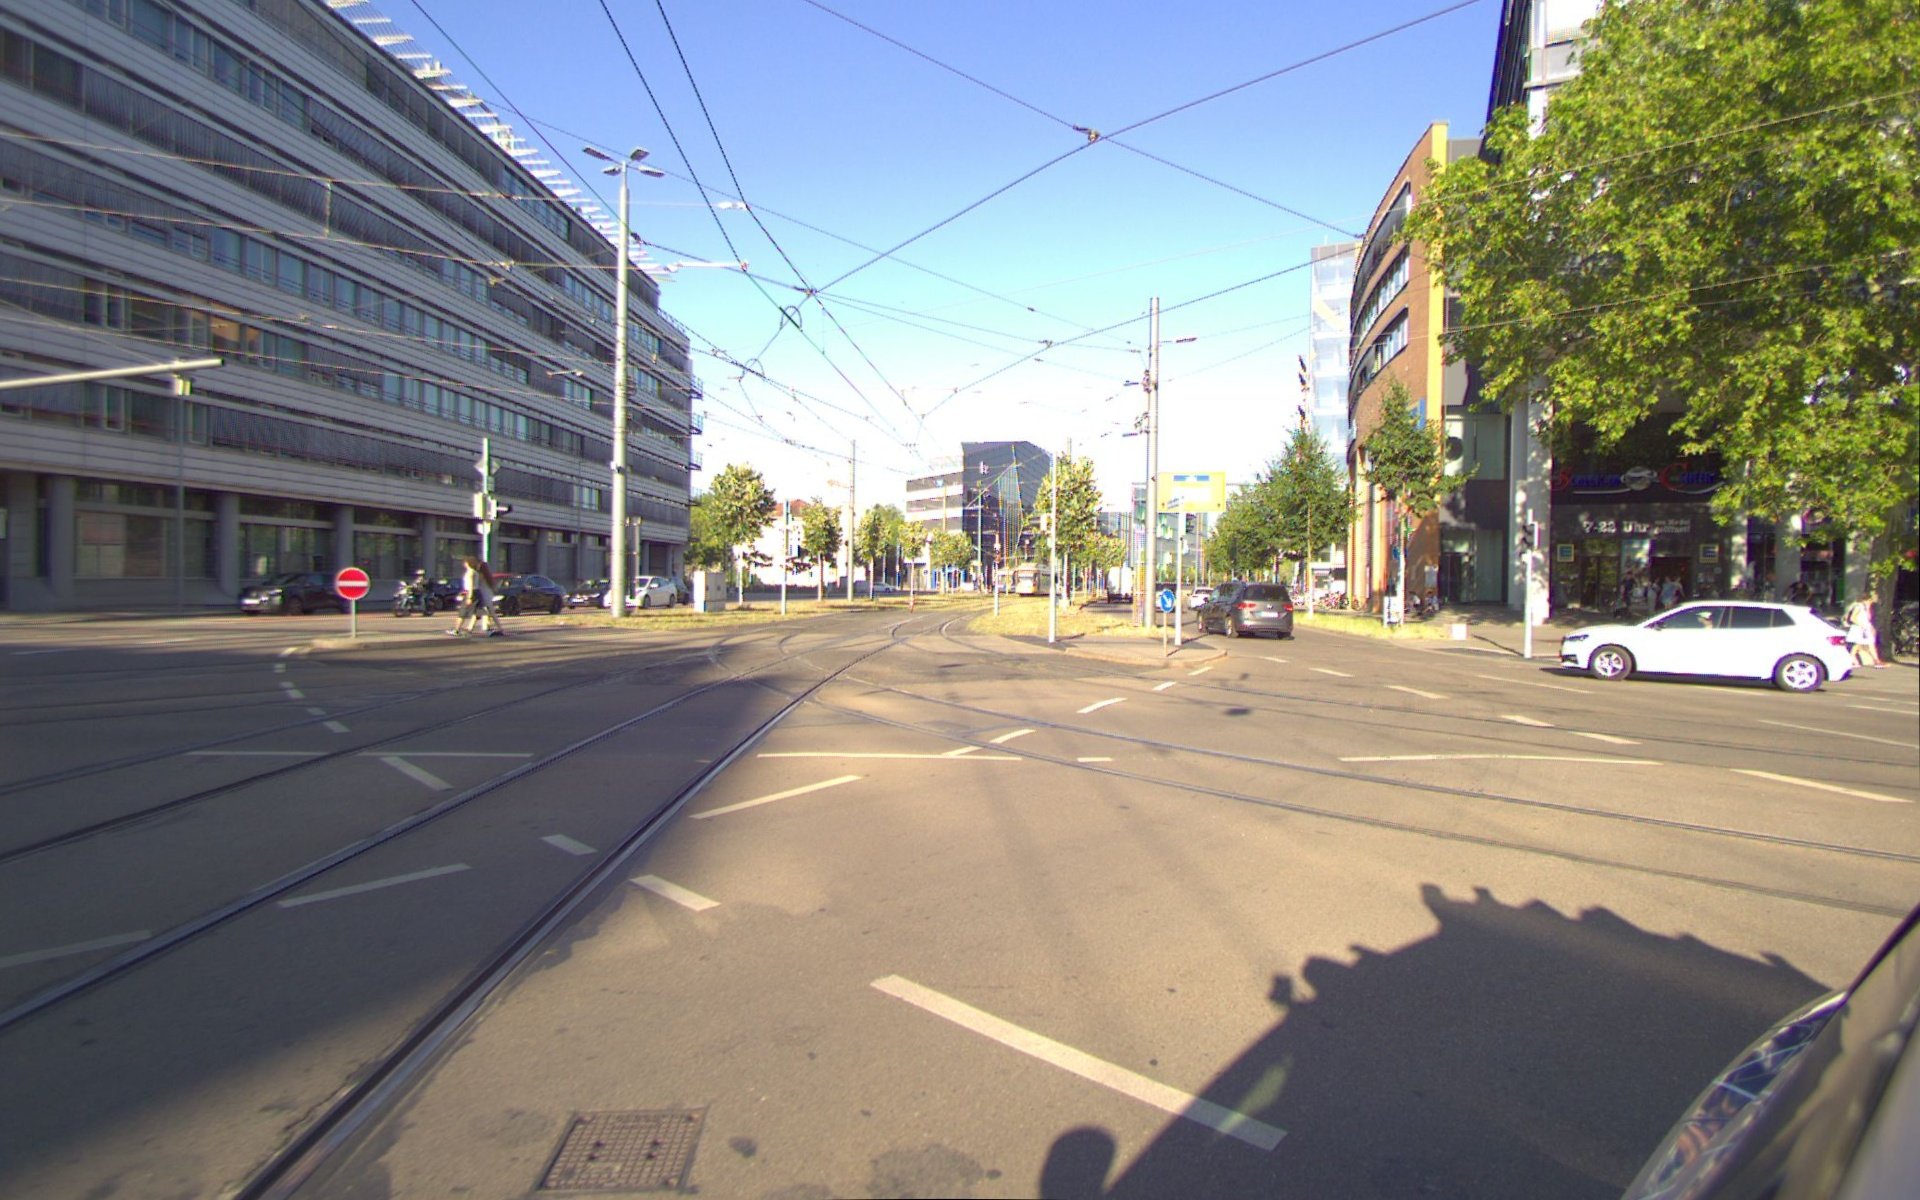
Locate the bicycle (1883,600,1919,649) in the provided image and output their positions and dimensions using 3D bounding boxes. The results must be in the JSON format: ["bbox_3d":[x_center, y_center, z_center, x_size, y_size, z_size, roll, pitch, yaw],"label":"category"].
[{"bbox_3d":[23.420,0.590,24.263,1.809,1.143,0.775,1,1,3],"label":"bicycle"}]

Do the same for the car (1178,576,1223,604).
[{"bbox_3d":[15.164,-0.644,63.980,1.830,1.652,4.262,1,1,1],"label":"car"}]

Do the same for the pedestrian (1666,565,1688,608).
[{"bbox_3d":[28.496,-0.534,40.228,0.589,1.677,0.588,1,1,24],"label":"pedestrian"}]

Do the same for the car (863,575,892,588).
[{"bbox_3d":[-11.991,-2.699,146.704,3.916,1.883,2.004,0,1,-12],"label":"car"}]

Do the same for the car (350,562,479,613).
[{"bbox_3d":[-18.604,-0.411,34.722,1.875,1.642,3.853,1,0,11],"label":"car"}]

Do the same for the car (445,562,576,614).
[{"bbox_3d":[-15.272,-0.397,34.673,1.875,1.642,4.508,1,0,11],"label":"car"}]

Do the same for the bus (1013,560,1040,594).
[{"bbox_3d":[7.137,-2.417,109.429,2.677,3.451,9.661,1,0,3],"label":"bus"}]

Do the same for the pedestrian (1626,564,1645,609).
[{"bbox_3d":[27.286,-0.554,40.868,0.589,1.777,0.587,1,1,37],"label":"pedestrian"}]

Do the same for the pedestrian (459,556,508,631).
[{"bbox_3d":[-10.979,-0.153,23.334,0.829,1.709,0.649,1,1,-5],"label":"pedestrian"}]

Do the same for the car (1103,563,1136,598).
[{"bbox_3d":[12.021,-1.440,76.681,1.964,2.511,5.967,1,0,4],"label":"car"}]

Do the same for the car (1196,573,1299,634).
[{"bbox_3d":[8.405,0.066,29.952,1.587,1.623,4.178,2,1,-3],"label":"car"}]

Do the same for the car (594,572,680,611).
[{"bbox_3d":[-14.219,-0.360,44.811,1.875,1.642,4.157,1,0,11],"label":"car"}]

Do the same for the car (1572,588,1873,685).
[{"bbox_3d":[12.885,0.545,17.432,3.971,1.470,1.617,1,1,33],"label":"car"}]

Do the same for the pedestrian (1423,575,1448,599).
[{"bbox_3d":[21.611,-0.594,46.033,0.761,1.094,0.682,1,1,-5],"label":"pedestrian"}]

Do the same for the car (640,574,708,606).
[{"bbox_3d":[-15.386,-0.554,54.642,1.875,1.642,4.157,1,0,11],"label":"car"}]

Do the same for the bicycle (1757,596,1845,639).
[{"bbox_3d":[21.535,0.439,25.926,1.670,1.049,0.548,1,1,7],"label":"bicycle"}]

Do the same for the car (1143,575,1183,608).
[{"bbox_3d":[10.699,-0.469,53.674,1.834,1.652,4.253,1,1,8],"label":"car"}]

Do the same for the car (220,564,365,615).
[{"bbox_3d":[-23.219,-0.366,35.394,1.875,1.642,4.157,1,0,11],"label":"car"}]

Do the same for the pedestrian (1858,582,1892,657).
[{"bbox_3d":[19.260,0.401,21.311,0.482,1.557,0.564,1,1,41],"label":"pedestrian"}]

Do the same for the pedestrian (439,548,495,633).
[{"bbox_3d":[-11.020,-0.209,22.645,0.947,1.865,0.700,0,1,-8],"label":"pedestrian"}]

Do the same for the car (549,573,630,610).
[{"bbox_3d":[-16.948,-0.428,46.477,1.604,1.616,3.985,0,1,13],"label":"car"}]

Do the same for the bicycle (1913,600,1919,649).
[{"bbox_3d":[23.355,0.596,23.405,1.809,1.143,0.775,1,1,3],"label":"bicycle"}]

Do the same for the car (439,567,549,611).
[{"bbox_3d":[-18.436,-0.436,40.259,1.875,1.642,4.157,1,0,11],"label":"car"}]
